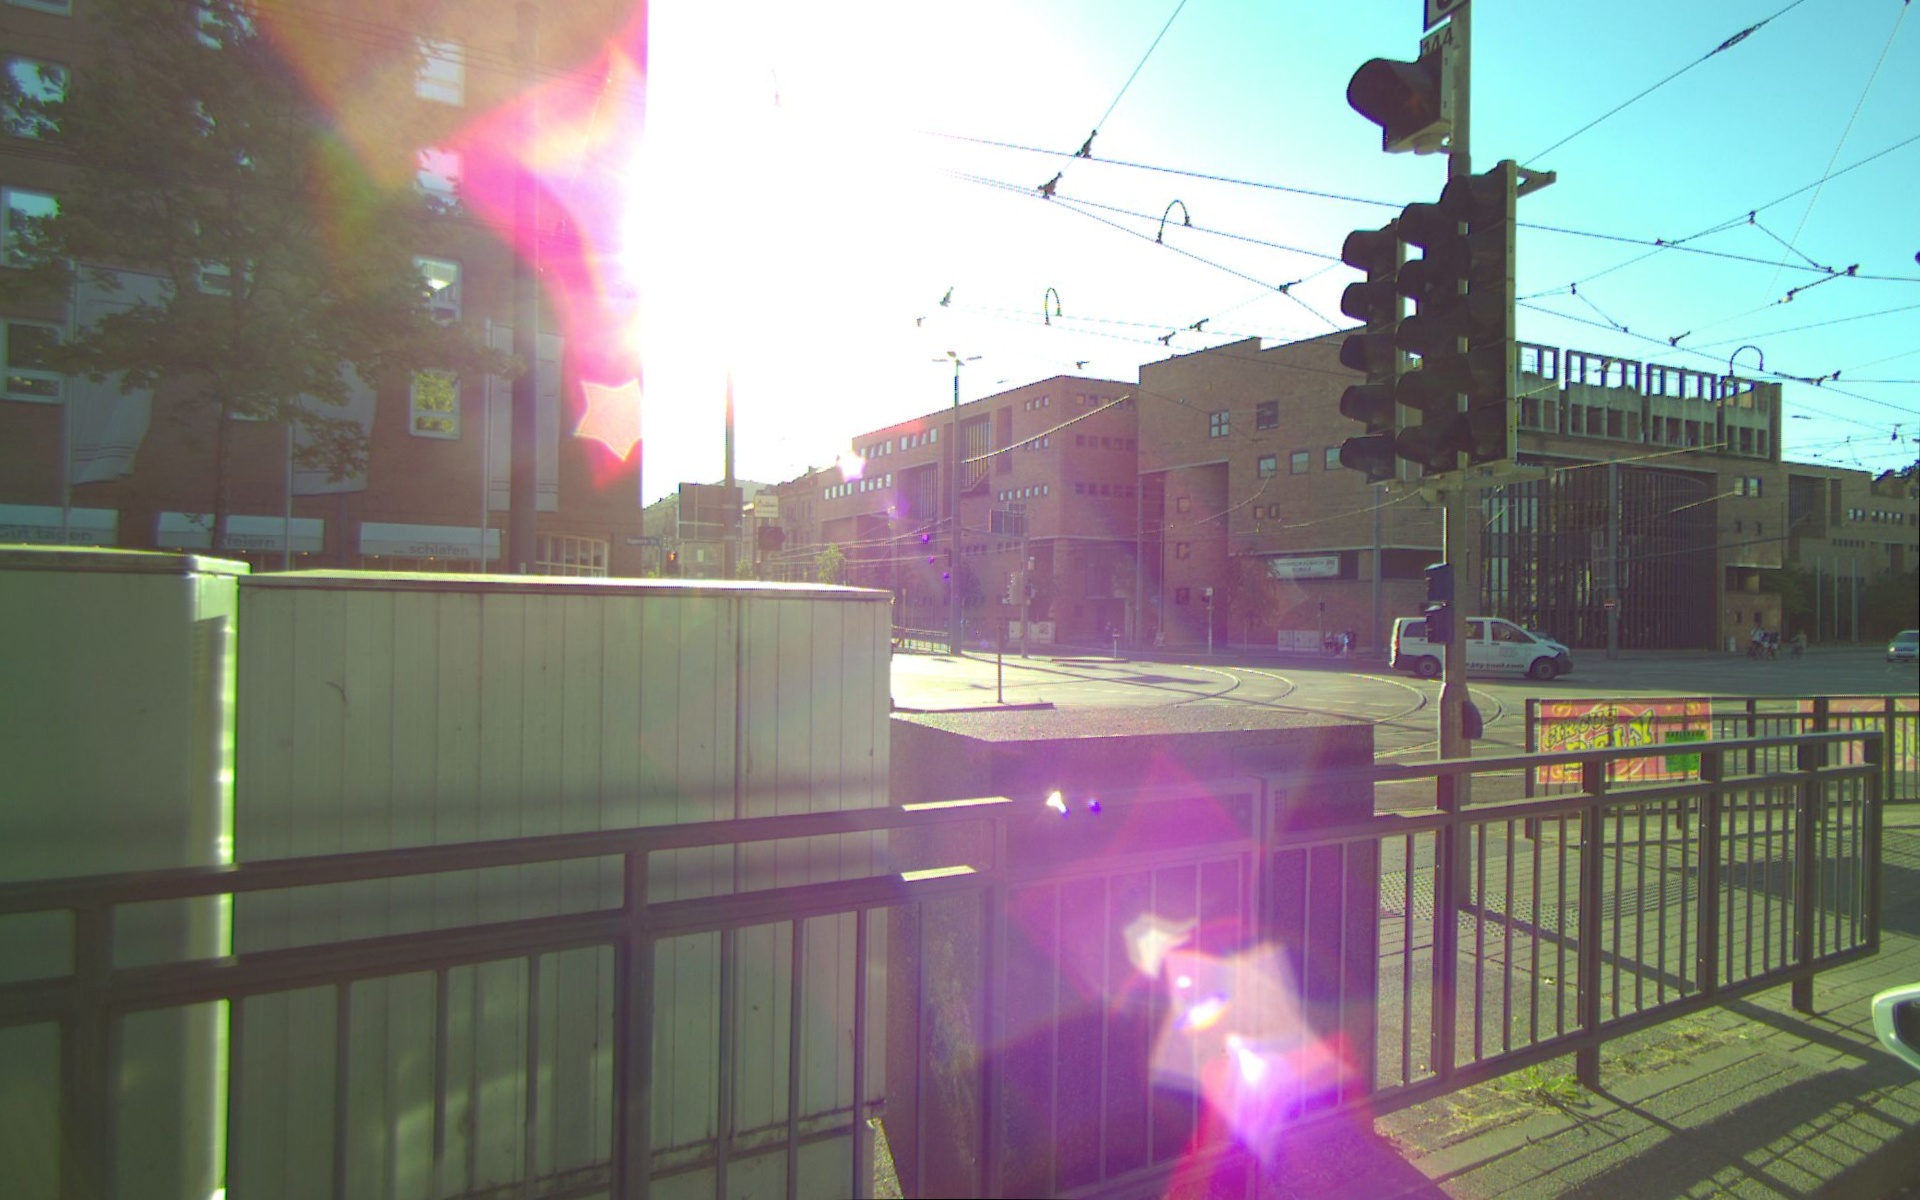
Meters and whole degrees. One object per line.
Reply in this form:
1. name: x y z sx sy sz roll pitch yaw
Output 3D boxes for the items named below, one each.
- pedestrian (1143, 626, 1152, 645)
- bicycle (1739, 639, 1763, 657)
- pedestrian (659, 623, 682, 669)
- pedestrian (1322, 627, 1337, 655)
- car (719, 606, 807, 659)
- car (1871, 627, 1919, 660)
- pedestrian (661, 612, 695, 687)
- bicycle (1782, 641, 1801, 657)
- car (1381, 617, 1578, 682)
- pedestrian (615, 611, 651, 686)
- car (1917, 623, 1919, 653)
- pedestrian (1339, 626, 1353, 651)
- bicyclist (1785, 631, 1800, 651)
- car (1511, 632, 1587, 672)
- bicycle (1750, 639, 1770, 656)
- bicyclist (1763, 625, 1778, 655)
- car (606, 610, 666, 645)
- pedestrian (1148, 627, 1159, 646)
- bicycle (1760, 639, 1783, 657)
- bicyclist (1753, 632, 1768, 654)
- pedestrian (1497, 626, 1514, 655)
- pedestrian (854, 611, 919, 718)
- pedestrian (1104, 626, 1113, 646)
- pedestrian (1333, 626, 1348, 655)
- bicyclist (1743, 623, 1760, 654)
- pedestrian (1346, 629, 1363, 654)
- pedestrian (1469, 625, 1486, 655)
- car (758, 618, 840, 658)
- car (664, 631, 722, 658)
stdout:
1. pedestrian: 14.525 2.772 77.770 0.524 1.482 0.590 0 -1 29
2. bicycle: 44.423 2.675 56.386 1.568 0.976 0.539 1 -1 -30
3. pedestrian: -10.526 1.671 36.514 0.658 1.669 0.638 1 -1 -34
4. pedestrian: 21.539 2.380 58.514 0.582 1.635 0.593 1 -1 -31
5. car: -9.469 1.522 47.978 1.982 2.419 5.156 1 -2 -38
6. car: 48.986 2.226 51.781 3.954 1.661 1.984 1 -2 -31
7. pedestrian: -7.148 1.244 25.470 0.647 1.864 0.835 1 -1 -28
8. bicycle: 49.294 2.906 59.528 1.332 0.976 0.449 1 -1 -30
9. car: 15.945 1.474 31.174 5.226 1.873 1.967 0 -1 21
10. pedestrian: -8.185 1.204 25.143 0.713 1.837 0.904 1 -1 -28
11. car: 55.256 2.114 55.895 3.954 1.661 1.984 1 -2 -31
12. pedestrian: 22.563 2.232 58.668 0.611 1.473 0.562 2 -2 -45
13. bicyclist: 49.354 2.414 59.561 0.574 1.194 0.503 1 -1 -30
14. car: 22.610 1.940 38.501 1.610 1.445 4.079 -1 -2 44
15. bicycle: 46.688 2.769 58.622 1.304 0.976 0.465 1 -1 -30
16. bicyclist: 45.007 2.213 55.756 0.574 1.624 0.456 1 -1 -30
17. car: -20.501 1.739 63.408 1.982 2.122 5.156 1 -2 -38
18. pedestrian: 14.841 2.805 77.101 0.551 1.445 0.554 1 -1 -37
19. bicycle: 45.056 2.644 55.750 1.557 0.976 0.470 1 -1 -30
20. bicyclist: 46.683 2.508 58.589 0.574 1.321 0.503 1 -1 -30
21. pedestrian: 31.338 2.329 57.703 0.607 1.647 0.612 1 -1 -7
22. pedestrian: -1.198 1.023 16.239 0.709 1.669 0.953 1 -1 -30
23. pedestrian: 11.266 2.705 76.018 0.463 1.482 0.505 1 -1 -37
24. pedestrian: 21.842 2.334 57.638 0.543 1.670 0.596 1 -1 -30
25. bicyclist: 44.423 2.161 56.371 0.574 1.754 0.534 1 -1 -30
26. pedestrian: 22.259 2.342 56.704 0.670 1.357 0.603 1 -1 -14
27. pedestrian: 29.886 2.315 57.984 0.613 1.706 0.648 1 -1 -21
28. car: -8.339 1.912 51.705 1.982 1.928 5.156 1 -2 -38
29. car: -14.369 2.371 53.903 1.729 1.372 3.960 1 -2 -36
